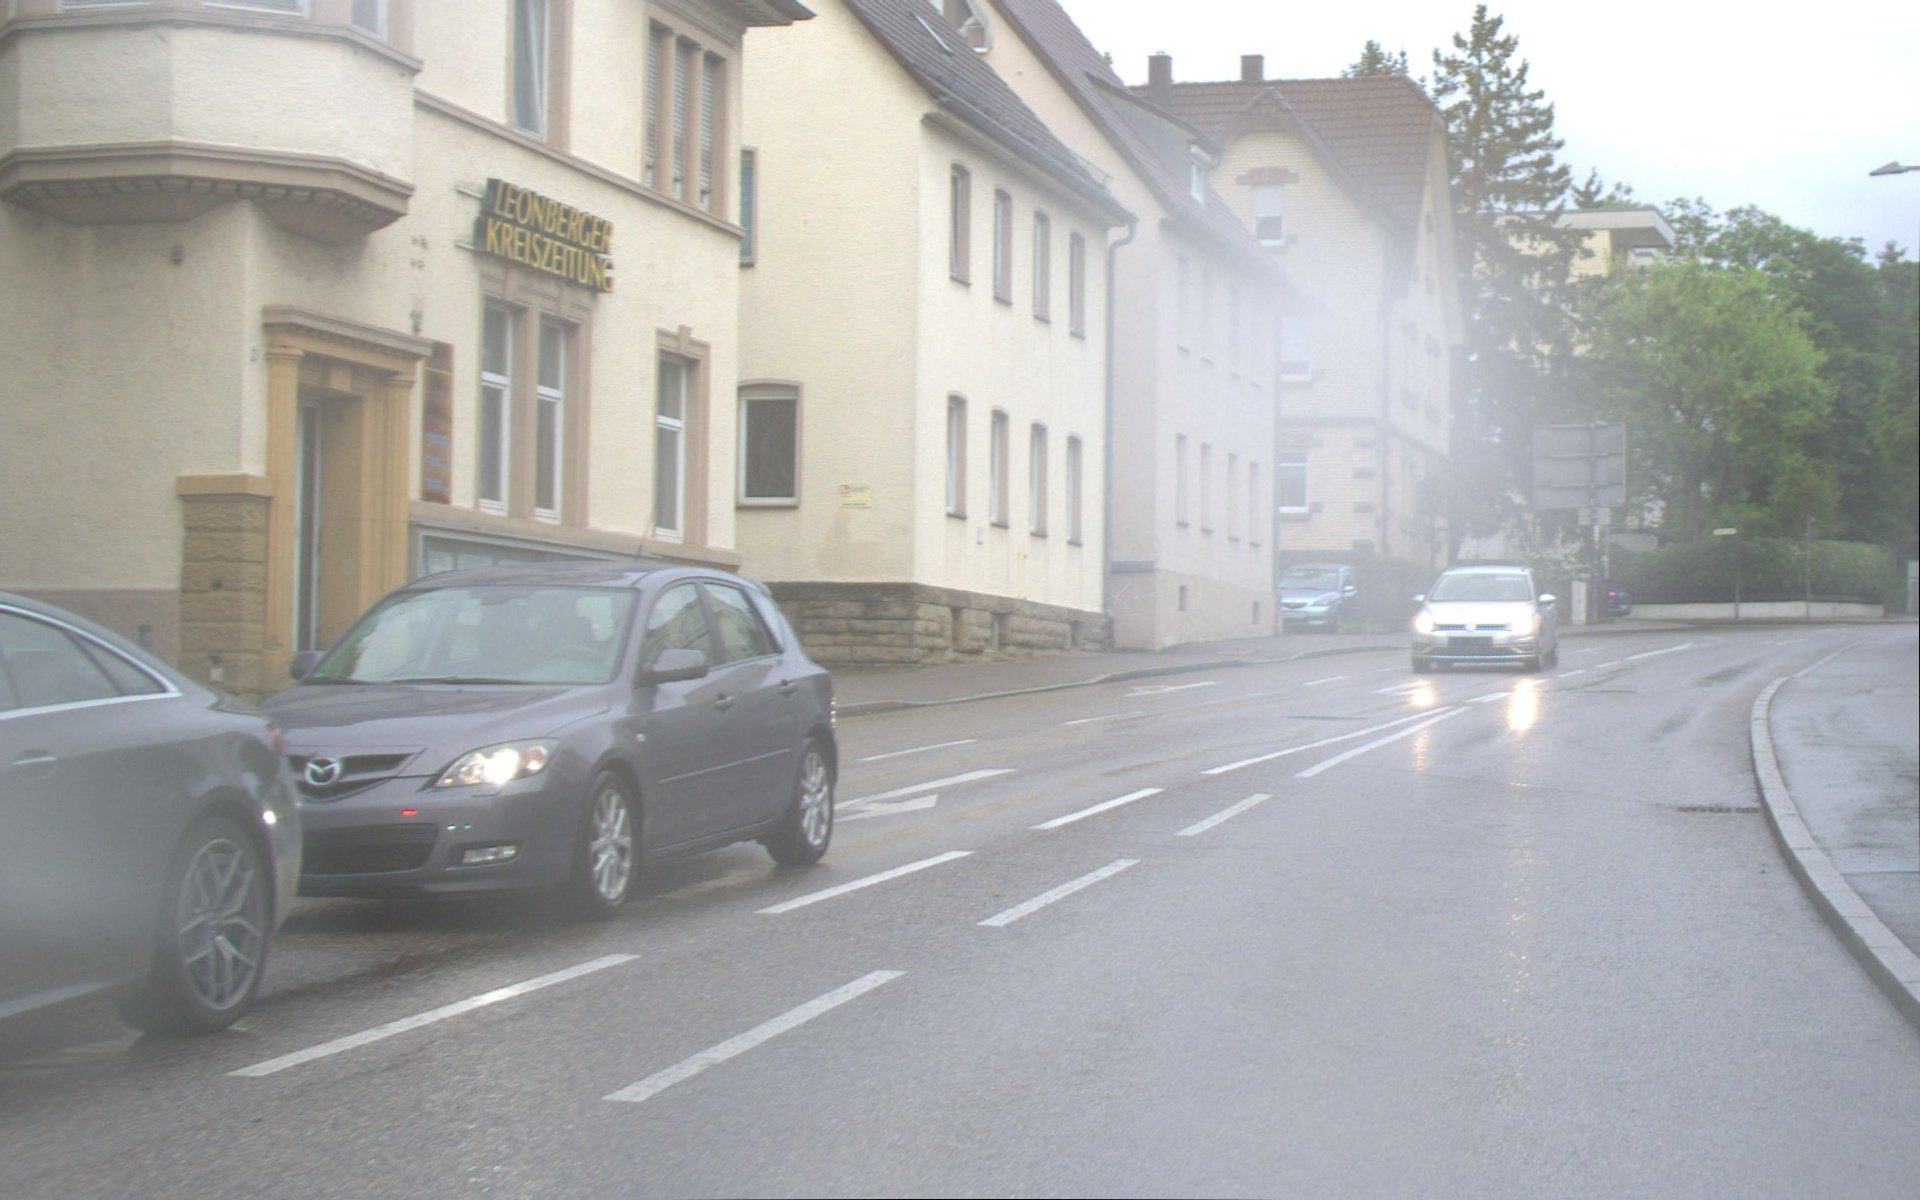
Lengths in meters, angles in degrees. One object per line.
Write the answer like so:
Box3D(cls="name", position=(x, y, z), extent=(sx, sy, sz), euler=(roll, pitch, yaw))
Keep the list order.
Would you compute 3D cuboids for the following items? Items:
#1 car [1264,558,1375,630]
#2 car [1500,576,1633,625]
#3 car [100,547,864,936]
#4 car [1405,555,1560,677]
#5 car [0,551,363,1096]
Box3D(cls="car", position=(7.633, -0.143, 72.777), extent=(1.692, 1.448, 3.229), euler=(2, 1, 17))
Box3D(cls="car", position=(17.677, 0.015, 100.155), extent=(3.690, 1.284, 1.695), euler=(2, 1, 14))
Box3D(cls="car", position=(-1.892, 0.522, 15.031), extent=(1.774, 1.447, 4.183), euler=(-1, 0, 15))
Box3D(cls="car", position=(7.337, 0.201, 48.079), extent=(1.630, 1.593, 3.229), euler=(2, 1, 17))
Box3D(cls="car", position=(-3.424, 0.607, 9.317), extent=(1.774, 1.447, 4.536), euler=(-1, 0, 15))
